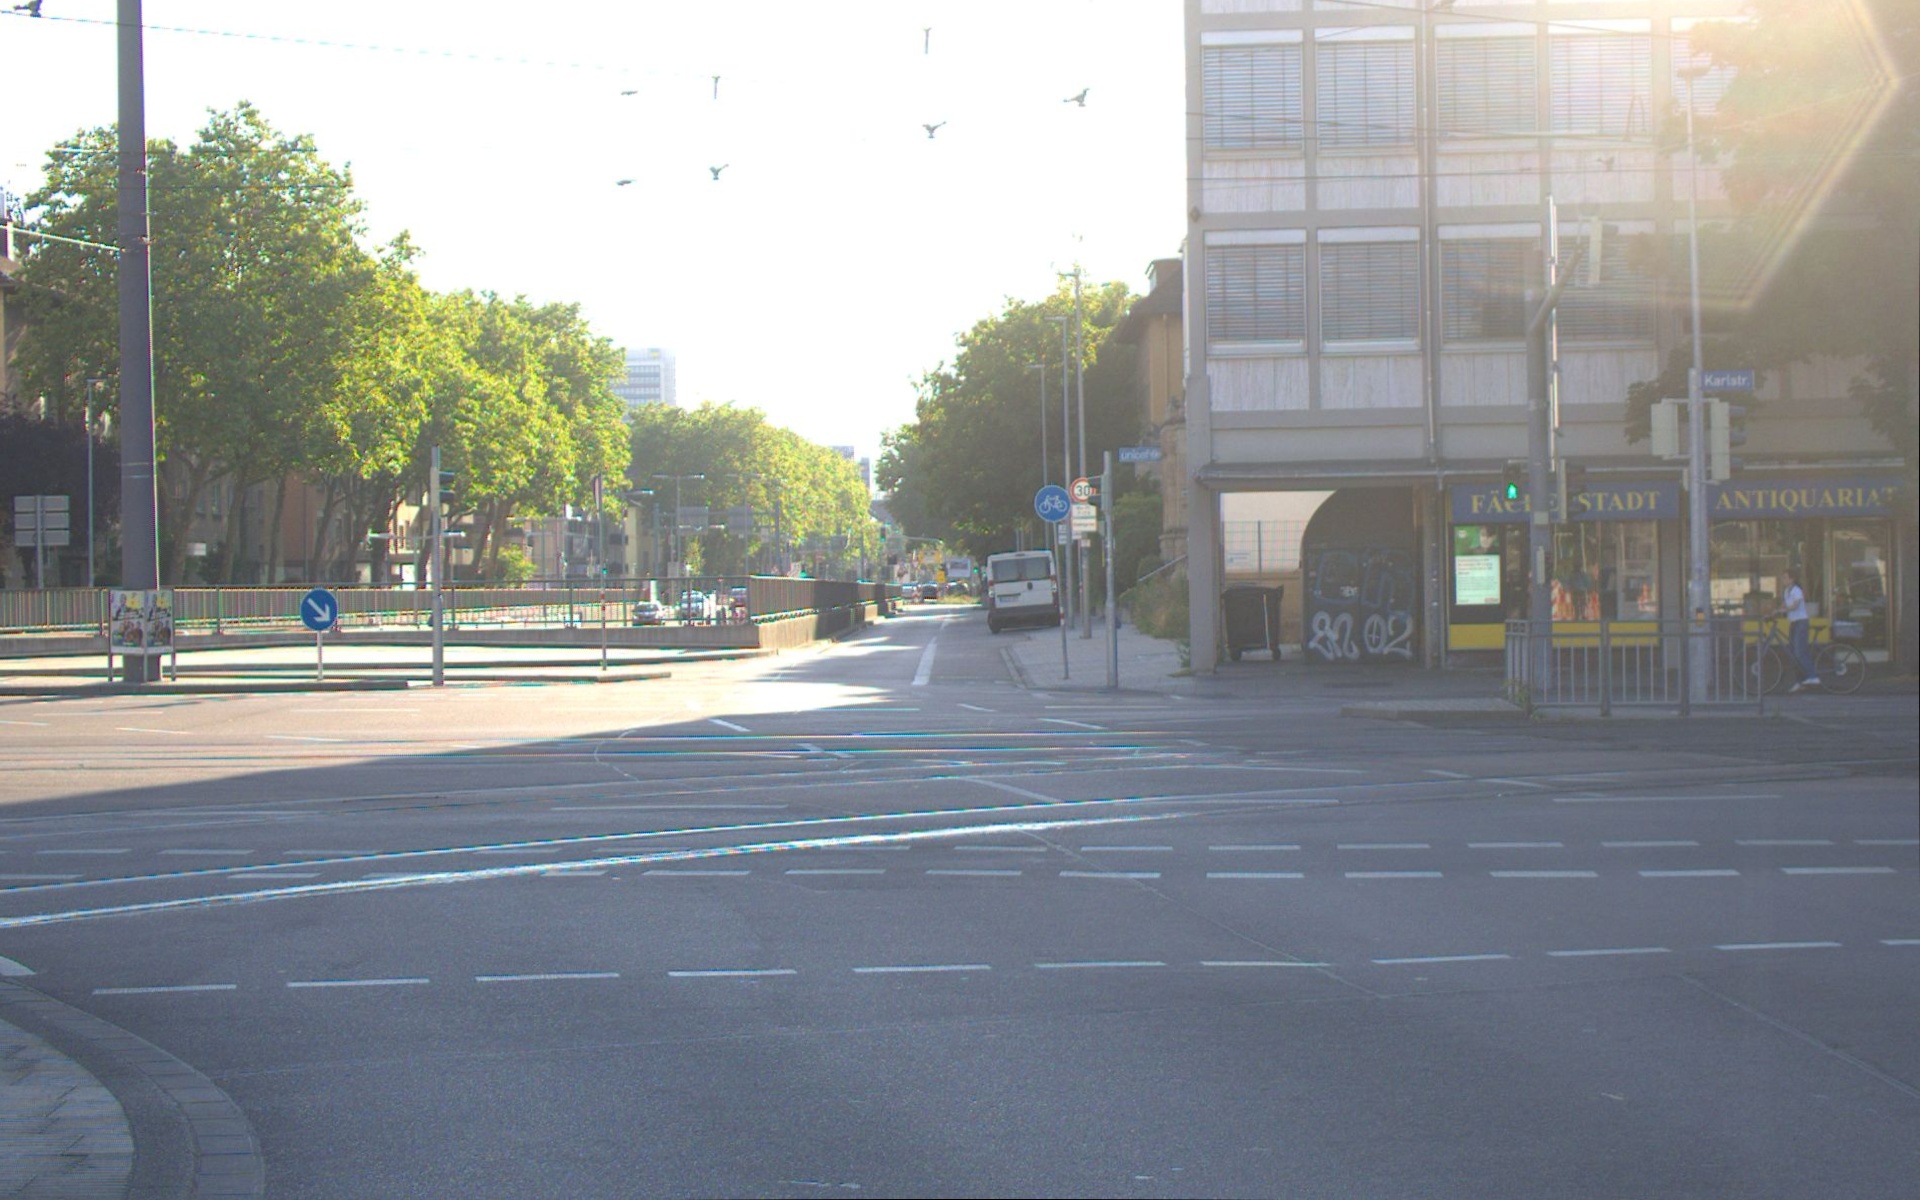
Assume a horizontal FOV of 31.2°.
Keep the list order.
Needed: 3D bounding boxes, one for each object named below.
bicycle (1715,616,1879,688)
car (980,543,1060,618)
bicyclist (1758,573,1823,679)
[{"bbox_3d":[11.264,0.700,46.286,2.024,0.937,0.671,1,0,-1],"label":"bicycle"},{"bbox_3d":[1.809,-0.570,101.982,2.286,2.165,4.833,1,0,2],"label":"car"},{"bbox_3d":[11.182,0.347,46.286,0.679,1.419,0.671,1,0,-1],"label":"bicyclist"}]
